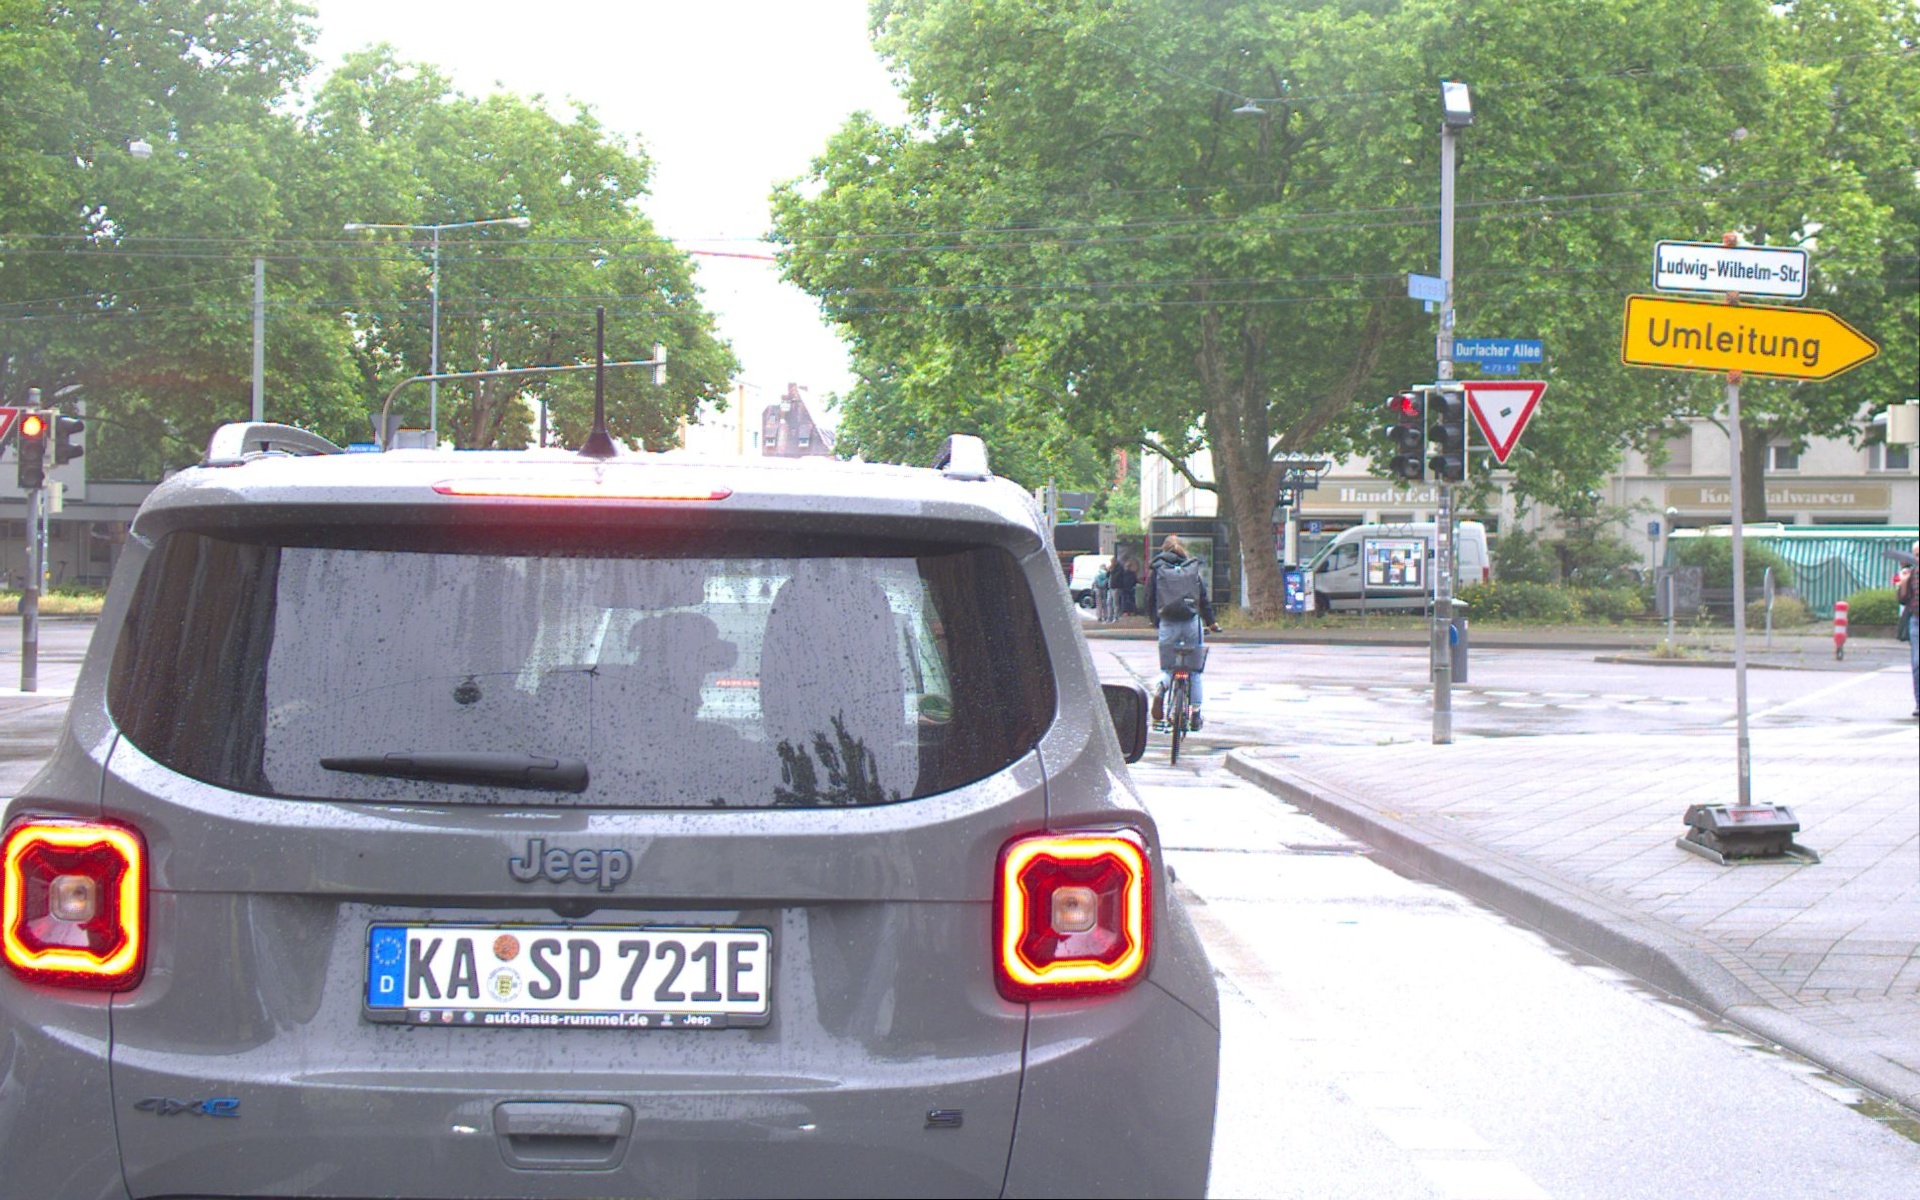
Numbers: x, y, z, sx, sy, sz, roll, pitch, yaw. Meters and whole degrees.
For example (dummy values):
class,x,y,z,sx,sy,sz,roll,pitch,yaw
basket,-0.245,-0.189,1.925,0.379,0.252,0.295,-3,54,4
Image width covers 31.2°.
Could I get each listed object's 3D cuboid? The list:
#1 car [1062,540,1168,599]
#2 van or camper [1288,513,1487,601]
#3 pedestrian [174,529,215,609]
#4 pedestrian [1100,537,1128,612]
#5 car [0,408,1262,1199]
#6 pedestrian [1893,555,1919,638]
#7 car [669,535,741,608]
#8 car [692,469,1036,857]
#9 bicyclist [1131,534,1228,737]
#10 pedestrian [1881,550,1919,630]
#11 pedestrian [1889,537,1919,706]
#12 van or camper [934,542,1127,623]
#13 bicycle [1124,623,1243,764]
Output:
class,x,y,z,sx,sy,sz,roll,pitch,yaw
car,5.397,-1.044,119.487,3.438,2.007,1.547,0,0,13
van or camper,11.747,-1.192,94.795,5.260,2.307,2.090,1,1,3
pedestrian,-17.503,-0.710,78.612,0.619,1.820,0.693,0,1,21
pedestrian,4.153,-0.695,92.633,0.651,2.007,0.482,1,1,12
car,-0.571,0.579,6.178,1.775,1.681,3.848,-1,1,-2
pedestrian,18.358,-0.068,66.320,0.613,1.598,0.493,0,1,24
car,-6.272,-0.718,84.416,1.721,1.733,3.730,0,1,-5
car,-0.537,0.297,19.848,1.770,2.007,4.000,0,1,-1
bicyclist,1.769,0.275,27.790,0.687,1.612,0.884,-1,1,-2
pedestrian,18.520,-0.198,67.466,0.674,1.548,0.760,1,-1,27
pedestrian,10.195,0.215,36.194,0.786,1.753,0.945,0,1,14
van or camper,2.554,-0.660,124.751,6.535,2.902,2.491,1,1,24
bicycle,1.781,0.726,27.732,0.691,1.018,2.658,-1,1,-2
